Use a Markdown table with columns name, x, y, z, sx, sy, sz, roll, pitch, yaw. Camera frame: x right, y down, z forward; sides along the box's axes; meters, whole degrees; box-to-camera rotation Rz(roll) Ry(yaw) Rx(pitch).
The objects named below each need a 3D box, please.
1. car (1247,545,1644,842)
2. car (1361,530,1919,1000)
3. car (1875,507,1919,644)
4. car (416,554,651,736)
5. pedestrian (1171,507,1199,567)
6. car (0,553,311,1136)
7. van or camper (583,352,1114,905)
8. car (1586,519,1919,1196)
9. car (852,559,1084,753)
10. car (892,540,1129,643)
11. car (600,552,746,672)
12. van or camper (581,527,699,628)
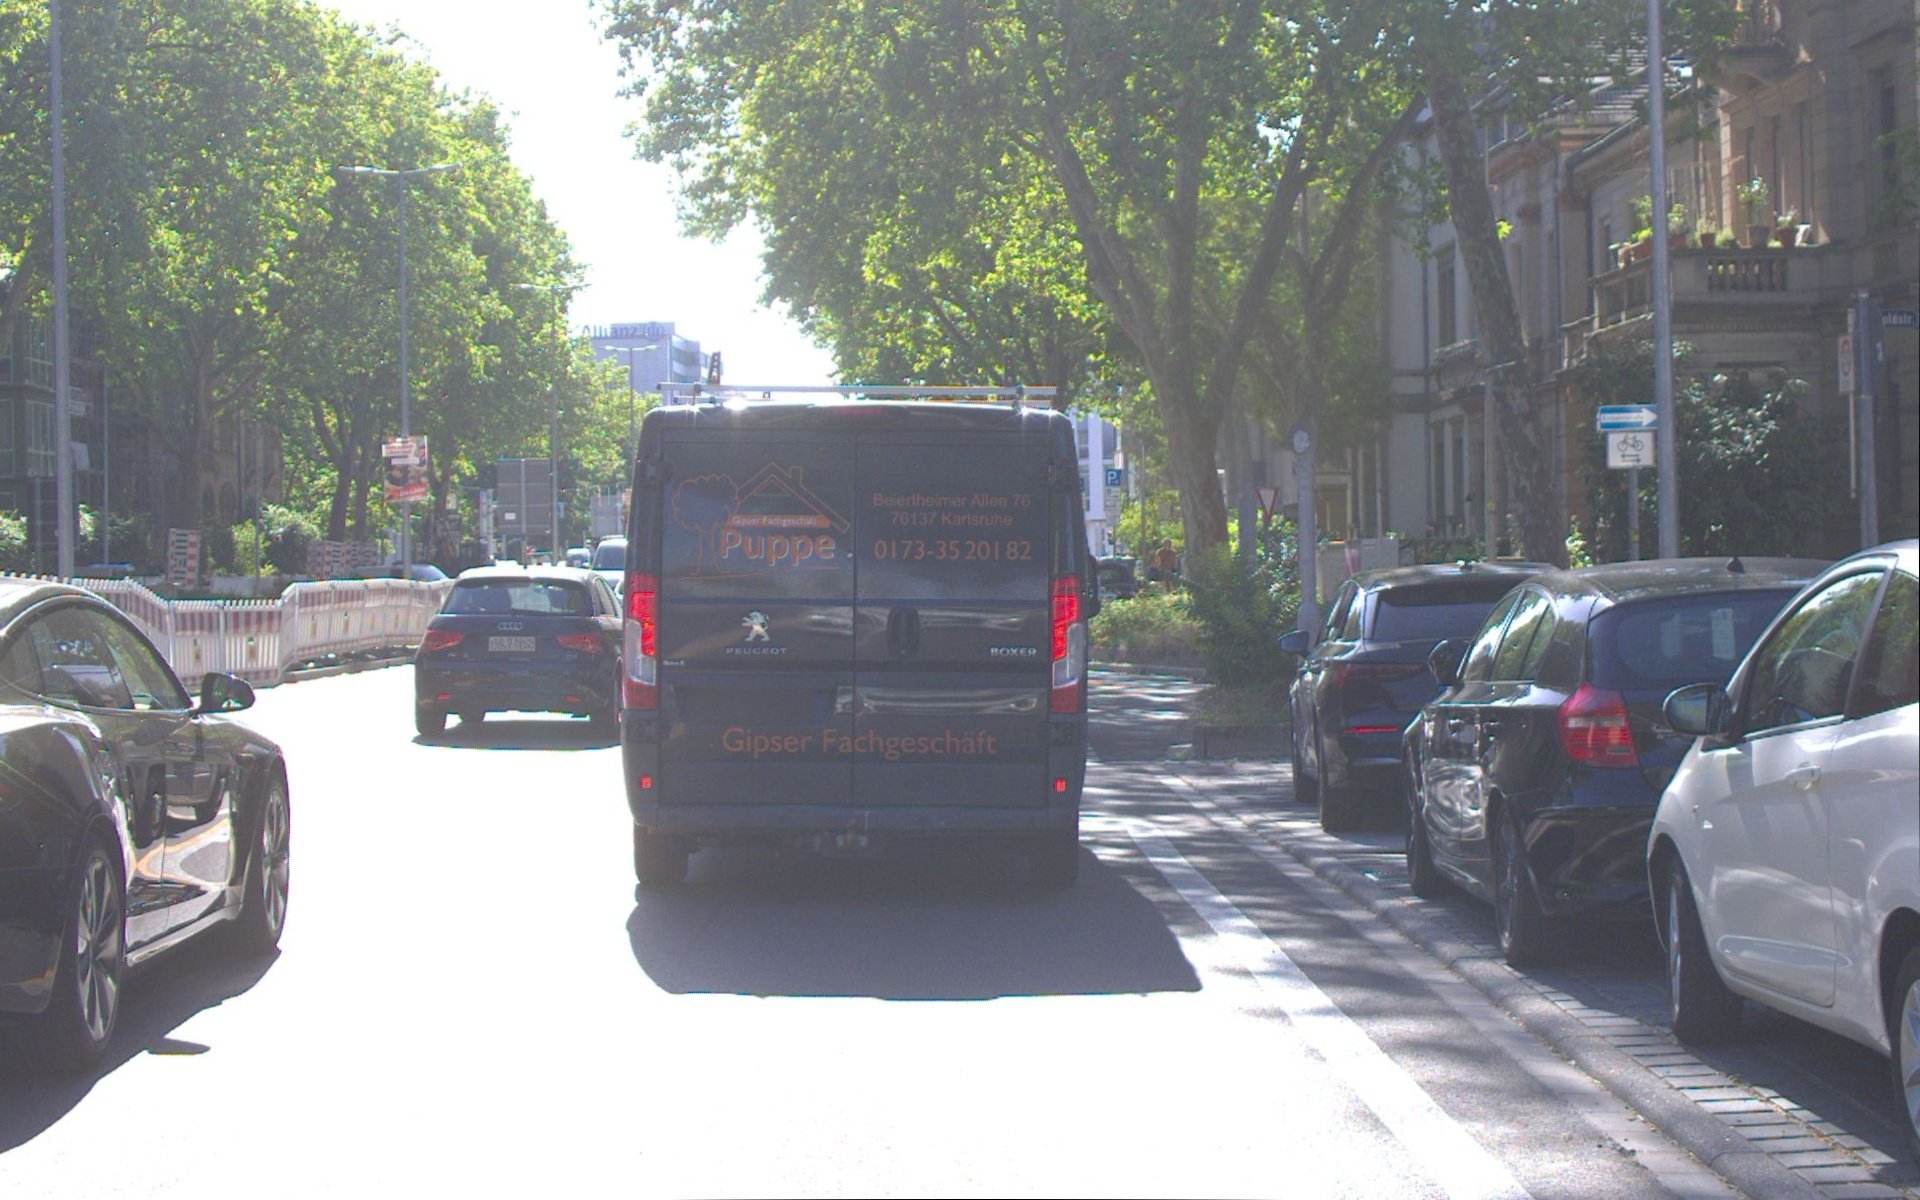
| name | x | y | z | sx | sy | sz | roll | pitch | yaw |
| --- | --- | --- | --- | --- | --- | --- | --- | --- | --- |
| car | 2.702 | 0.462 | 19.962 | 1.619 | 1.481 | 4.098 | -2 | 1 | -1 |
| car | 2.655 | 0.510 | 13.302 | 1.619 | 1.481 | 4.057 | -2 | 1 | -1 |
| car | 13.132 | -0.312 | 41.032 | 3.929 | 1.555 | 1.873 | 0 | 3 | 1 |
| car | -3.645 | 0.345 | 29.883 | 1.619 | 1.481 | 3.734 | 0 | 1 | -1 |
| pedestrian | 8.855 | -2.484 | 135.452 | 1.058 | 2.338 | 0.816 | 1 | 0 | 2 |
| car | -3.380 | 0.593 | 10.925 | 1.837 | 1.478 | 4.476 | 0 | 1 | -1 |
| van or camper | -0.550 | 0.091 | 16.829 | 2.245 | 2.338 | 4.538 | 0 | 1 | -2 |
| car | 2.868 | 0.516 | 9.153 | 1.619 | 1.481 | 3.734 | -2 | 1 | -1 |
| car | 0.103 | 0.424 | 29.639 | 1.834 | 1.481 | 4.057 | -1 | 1 | 1 |
| car | 0.865 | -0.148 | 59.939 | 3.987 | 1.563 | 1.778 | 3 | 0 | 0 |
| car | -3.680 | 0.124 | 44.491 | 1.619 | 1.481 | 3.734 | 0 | 1 | -1 |
| van or camper | -6.821 | -0.495 | 73.718 | 1.993 | 2.007 | 5.329 | -2 | 1 | 0 |
